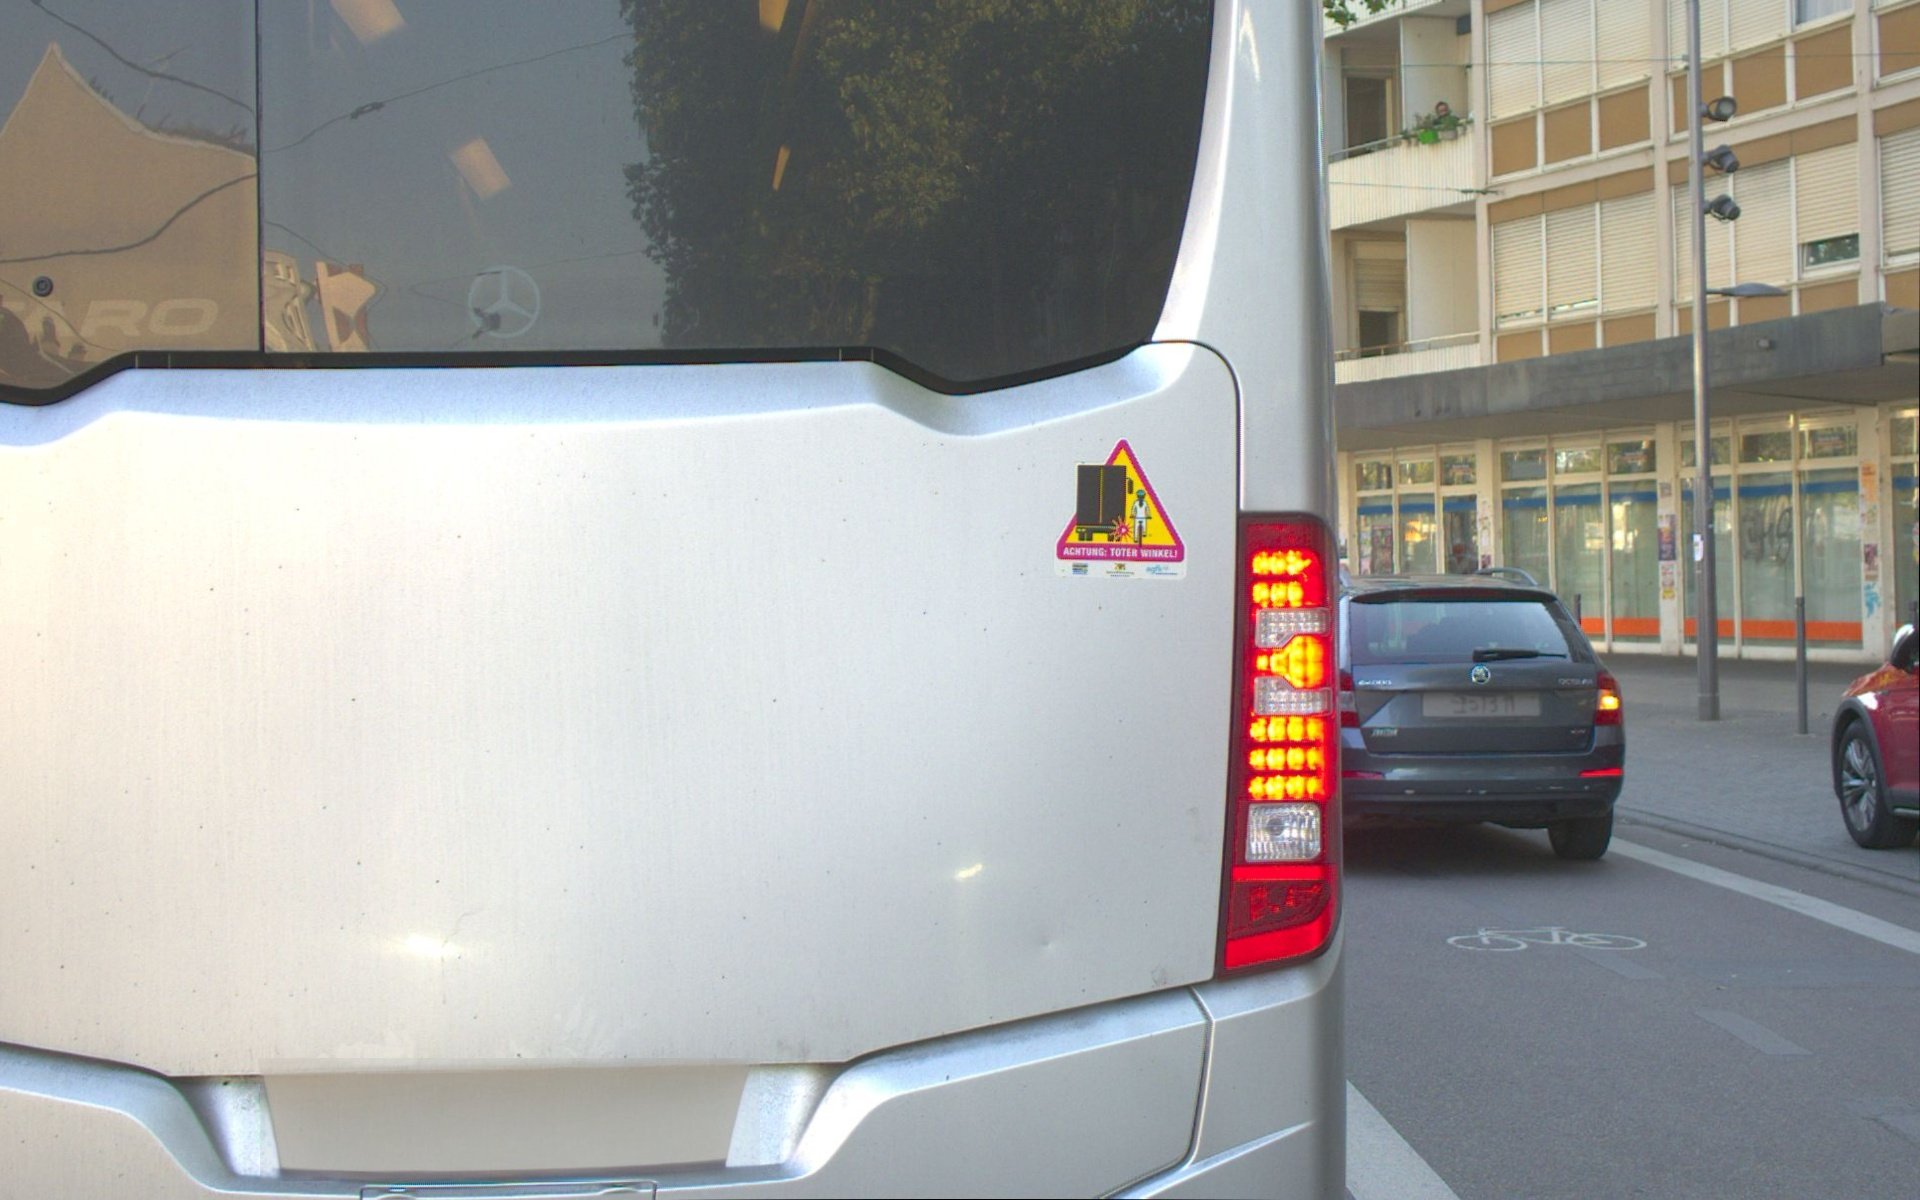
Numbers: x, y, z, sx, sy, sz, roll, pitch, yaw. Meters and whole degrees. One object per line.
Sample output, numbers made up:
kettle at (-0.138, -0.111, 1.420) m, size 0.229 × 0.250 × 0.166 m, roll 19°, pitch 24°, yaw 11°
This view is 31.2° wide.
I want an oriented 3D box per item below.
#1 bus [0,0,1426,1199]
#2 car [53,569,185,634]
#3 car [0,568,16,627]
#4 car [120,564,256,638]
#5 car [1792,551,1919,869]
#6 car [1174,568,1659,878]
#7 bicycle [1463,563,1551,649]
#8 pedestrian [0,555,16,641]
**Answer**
bus at (-0.901, -0.129, 9.893) m, size 2.657 × 3.088 × 10.217 m, roll -1°, pitch 0°, yaw -2°
car at (-19.822, 0.026, 80.975) m, size 1.663 × 1.390 × 3.411 m, roll -6°, pitch 4°, yaw -39°
car at (-25.694, -0.032, 88.033) m, size 1.663 × 1.463 × 3.411 m, roll -6°, pitch 4°, yaw -38°
car at (-17.461, 0.007, 77.658) m, size 1.663 × 1.511 × 3.412 m, roll -5°, pitch 4°, yaw -37°
car at (5.502, 0.503, 15.979) m, size 1.778 × 1.491 × 4.568 m, roll -3°, pitch 1°, yaw -5°
car at (2.300, 0.563, 18.384) m, size 1.803 × 1.469 × 4.072 m, roll 0°, pitch 1°, yaw -4°
bicycle at (7.223, 0.069, 45.446) m, size 0.437 × 1.089 × 1.462 m, roll -4°, pitch 2°, yaw -20°
pedestrian at (-19.433, -0.046, 69.131) m, size 0.720 × 1.719 × 0.399 m, roll -1°, pitch 1°, yaw 13°
